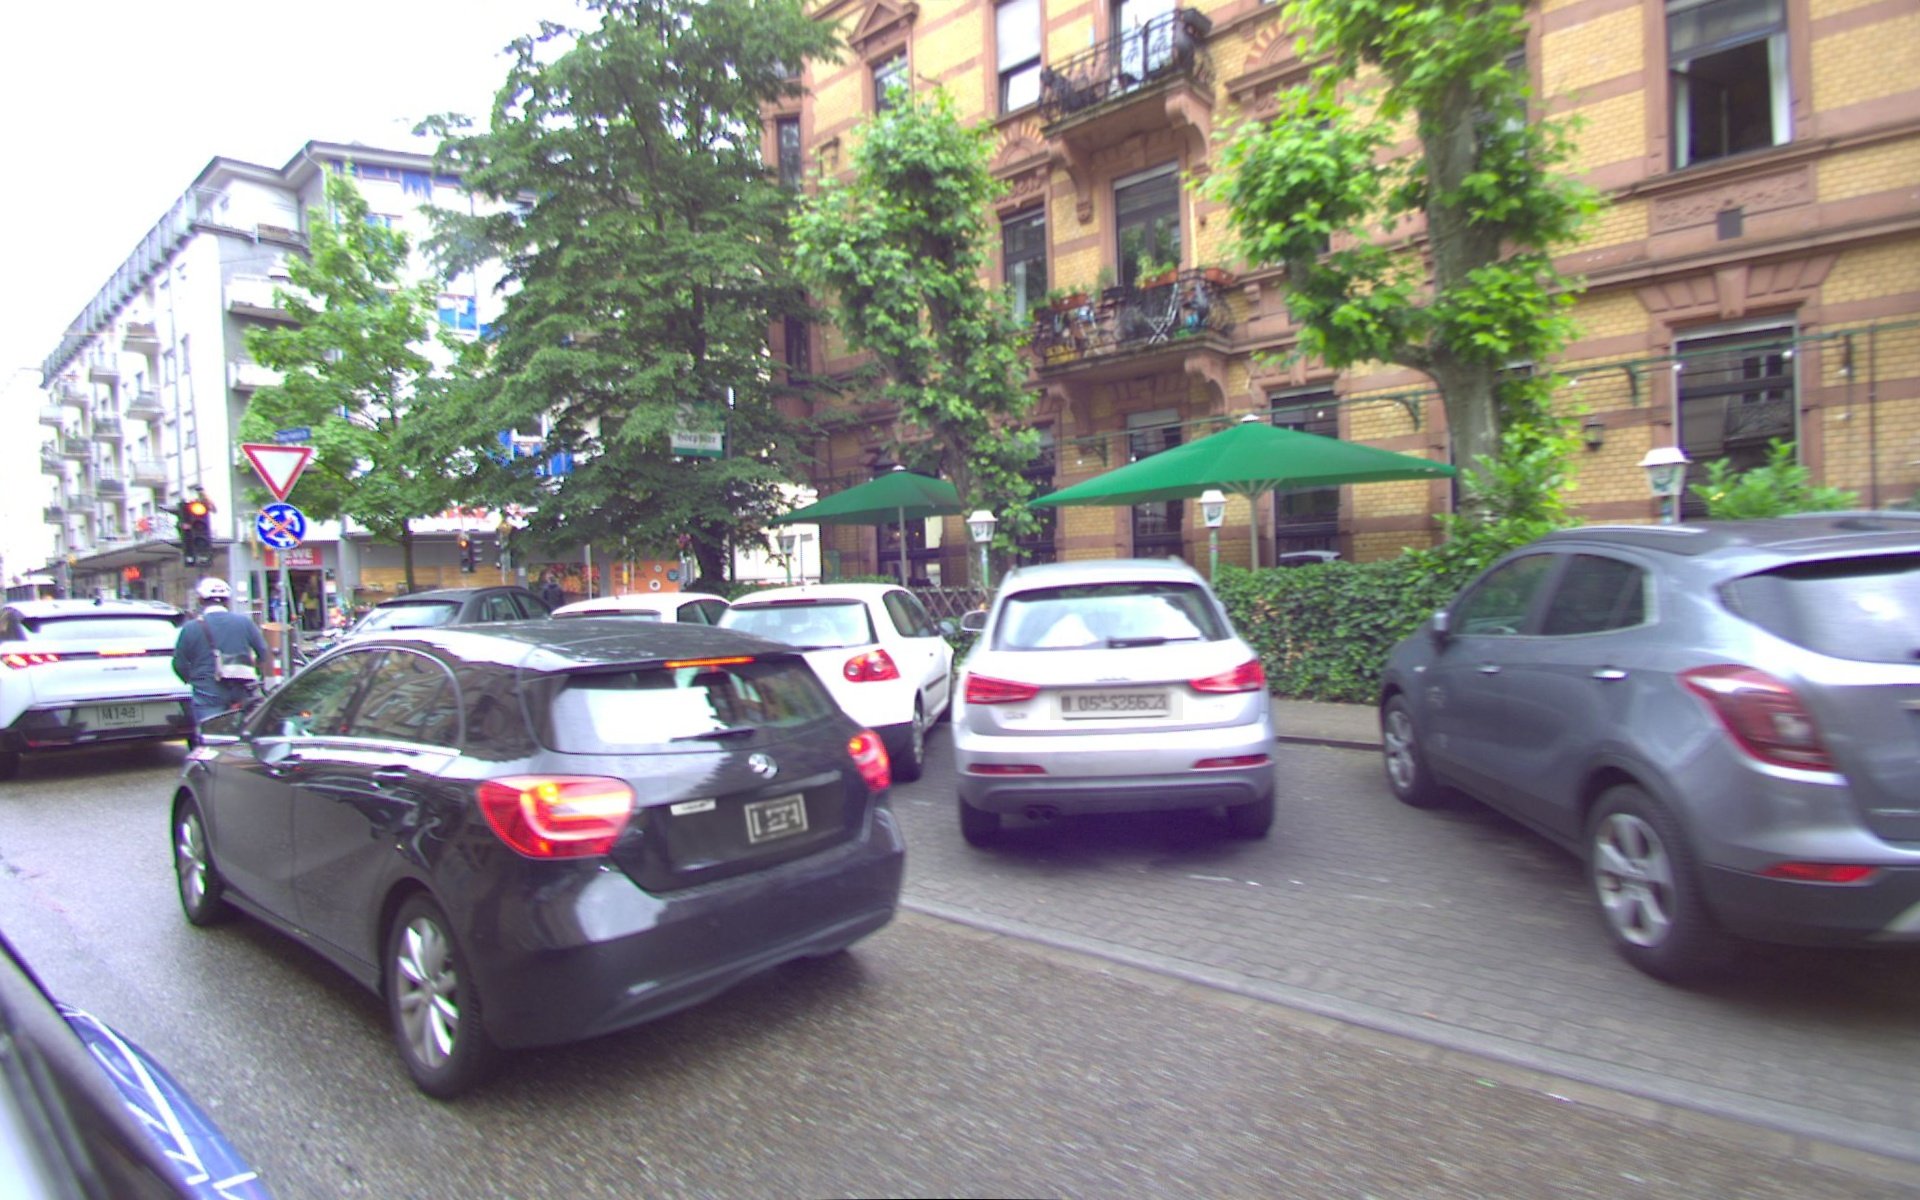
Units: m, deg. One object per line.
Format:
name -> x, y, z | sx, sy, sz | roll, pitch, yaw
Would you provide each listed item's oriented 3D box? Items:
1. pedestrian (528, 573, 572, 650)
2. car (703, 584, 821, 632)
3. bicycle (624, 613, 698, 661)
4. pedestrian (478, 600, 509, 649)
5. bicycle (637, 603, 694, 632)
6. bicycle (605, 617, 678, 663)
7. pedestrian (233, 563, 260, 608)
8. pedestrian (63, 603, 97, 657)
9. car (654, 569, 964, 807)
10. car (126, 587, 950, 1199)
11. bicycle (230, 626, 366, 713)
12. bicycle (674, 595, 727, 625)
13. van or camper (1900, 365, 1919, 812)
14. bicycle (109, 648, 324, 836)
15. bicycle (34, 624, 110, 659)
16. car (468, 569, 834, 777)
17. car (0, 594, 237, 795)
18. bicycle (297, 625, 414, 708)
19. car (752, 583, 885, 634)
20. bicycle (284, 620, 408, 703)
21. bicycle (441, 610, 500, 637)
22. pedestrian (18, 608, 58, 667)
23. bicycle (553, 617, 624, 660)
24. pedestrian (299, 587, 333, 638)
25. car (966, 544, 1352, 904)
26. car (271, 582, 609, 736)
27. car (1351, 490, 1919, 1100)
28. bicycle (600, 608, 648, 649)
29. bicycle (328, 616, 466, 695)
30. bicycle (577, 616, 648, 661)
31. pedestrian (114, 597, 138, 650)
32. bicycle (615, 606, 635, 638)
pedestrian -> -11.175, 0.303, 27.625 | 0.929, 2.029, 0.866 | -2, 1, -14
car -> -7.731, 0.339, 39.330 | 4.449, 1.693, 1.976 | -2, 1, 36
bicycle -> -5.776, 0.706, 19.583 | 0.405, 0.821, 1.378 | -2, 1, 36
pedestrian -> -15.971, 0.834, 34.651 | 0.786, 1.627, 0.606 | -2, 1, -14
bicycle -> -11.360, 0.681, 39.050 | 1.968, 0.978, 0.591 | -3, 3, -33
bicycle -> -6.342, 0.777, 20.204 | 0.405, 0.821, 1.378 | -2, 1, 36
pedestrian -> -25.917, -0.529, 36.769 | 0.536, 1.596, 0.696 | -2, 1, -14
pedestrian -> -31.790, 1.073, 36.560 | 0.850, 1.862, 0.770 | -3, 1, -41
car -> -1.044, 0.565, 9.051 | 1.779, 1.504, 4.132 | -1, 3, 6
car -> -2.188, 0.738, 4.627 | 4.136, 1.505, 1.777 | 1, 3, 41
bicycle -> -9.335, 0.975, 14.283 | 1.665, 1.152, 0.585 | -2, 1, 13
bicycle -> -9.510, 0.360, 37.155 | 0.588, 0.978, 1.977 | 0, 3, 36
van or camper -> 5.517, 0.049, 3.039 | 1.915, 2.255, 4.075 | -1, 3, 8
bicycle -> -5.655, 0.986, 7.633 | 2.267, 1.189, 0.762 | -3, -1, 40
bicycle -> -31.853, 1.479, 36.341 | 0.658, 1.041, 1.879 | -3, 3, 26
car -> -2.924, 0.562, 10.898 | 1.976, 1.574, 4.717 | -4, 2, 7
car -> -9.413, 0.844, 10.626 | 5.005, 1.673, 1.839 | -2, -1, 41
bicycle -> -8.766, 0.964, 14.672 | 1.667, 1.152, 0.397 | -2, 1, 16
car -> -5.050, 0.301, 36.061 | 4.311, 1.652, 1.849 | -2, -1, -24
bicycle -> -9.218, 0.925, 15.197 | 1.861, 1.194, 0.397 | -2, 1, 16
bicycle -> -18.322, 0.891, 37.917 | 1.977, 0.978, 0.588 | 0, 1, 7
pedestrian -> -30.797, 1.243, 33.797 | 0.707, 1.911, 0.606 | -2, 1, -14
bicycle -> -7.860, 0.809, 21.452 | 0.405, 0.821, 1.378 | -2, 1, 36
pedestrian -> -24.119, 0.468, 37.926 | 0.682, 1.777, 0.867 | -2, 9, -14
car -> 1.100, 0.502, 6.912 | 1.778, 1.674, 4.134 | -2, 3, 4
car -> -6.610, 0.631, 13.573 | 1.974, 1.575, 4.453 | -1, 3, 4
car -> 3.401, 0.403, 4.743 | 1.778, 1.674, 4.134 | -1, 3, 4
bicycle -> -9.229, 0.770, 27.892 | 0.852, 1.052, 2.418 | -2, -1, -9
bicycle -> -8.860, 0.871, 15.935 | 1.915, 1.152, 0.772 | -2, 1, 18
bicycle -> -7.149, 0.779, 20.845 | 0.405, 0.821, 1.378 | -2, 1, 36
pedestrian -> -30.123, 0.846, 36.550 | 0.595, 1.862, 0.770 | -3, 1, -41
bicycle -> -11.893, 0.770, 35.940 | 0.579, 0.978, 2.008 | -2, 3, -20
